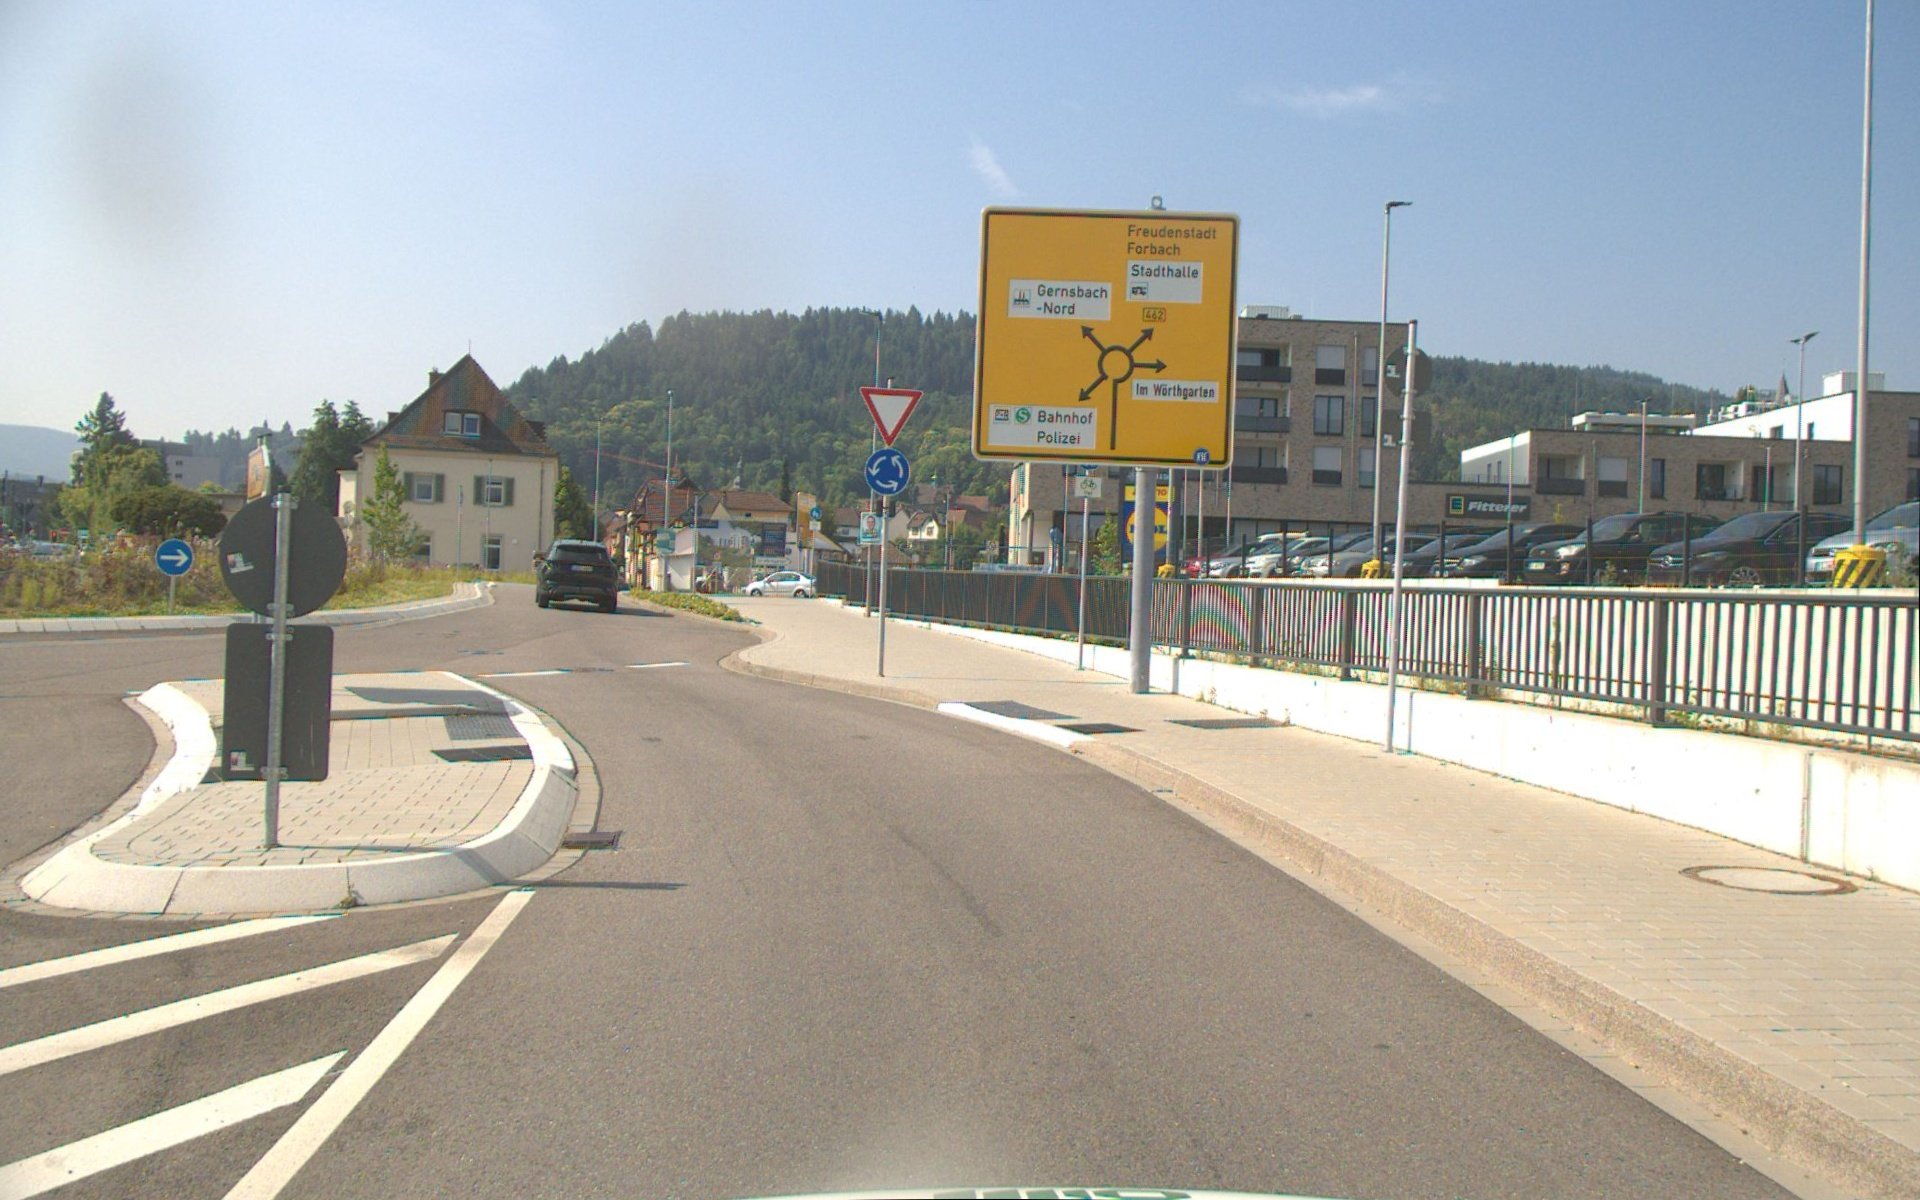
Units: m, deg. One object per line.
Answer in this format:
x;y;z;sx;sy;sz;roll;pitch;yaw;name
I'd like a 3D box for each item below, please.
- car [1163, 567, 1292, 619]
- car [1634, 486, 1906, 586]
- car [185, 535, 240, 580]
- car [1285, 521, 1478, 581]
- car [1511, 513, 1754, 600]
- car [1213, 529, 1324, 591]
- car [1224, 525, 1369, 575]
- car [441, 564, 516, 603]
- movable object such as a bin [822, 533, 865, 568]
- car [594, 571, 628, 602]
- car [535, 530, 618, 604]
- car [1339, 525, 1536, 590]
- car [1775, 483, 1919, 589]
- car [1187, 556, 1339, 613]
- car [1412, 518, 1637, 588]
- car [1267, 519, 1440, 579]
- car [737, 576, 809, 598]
8.179;-0.230;50.711;3.495;1.455;1.705;2;1;-14;car
13.314;-1.026;27.222;3.993;1.428;1.481;2;1;-14;car
-35.750;-2.030;79.222;1.780;2.048;3.983;1;1;-16;car
10.105;-1.161;39.760;4.206;1.267;1.658;2;1;-14;car
12.512;-0.794;30.836;3.937;1.428;1.719;2;1;-14;car
11.351;-1.455;61.132;3.902;2.173;2.002;1;0;8;car
9.229;-1.353;45.403;3.495;1.220;1.709;2;1;-14;car
-26.562;-0.901;91.385;1.953;2.049;4.000;1;0;21;car
-6.624;-2.776;93.744;2.395;1.876;1.427;1;0;-5;movable object such as a bin
-23.919;-0.918;113.313;1.962;2.049;3.982;1;0;-17;car
-9.511;-0.776;40.849;1.850;1.713;3.984;1;0;-15;car
10.671;-0.943;37.038;3.899;1.267;1.724;2;1;-14;car
14.013;-0.867;23.962;3.741;1.388;1.675;2;1;-14;car
8.790;-0.457;48.133;3.984;1.513;1.712;2;1;-11;car
11.686;-0.961;34.316;4.142;1.267;1.738;2;1;-14;car
10.066;-1.296;42.356;3.967;1.366;1.654;2;1;-14;car
-9.032;-0.623;79.802;3.201;0.981;1.350;1;0;20;car
